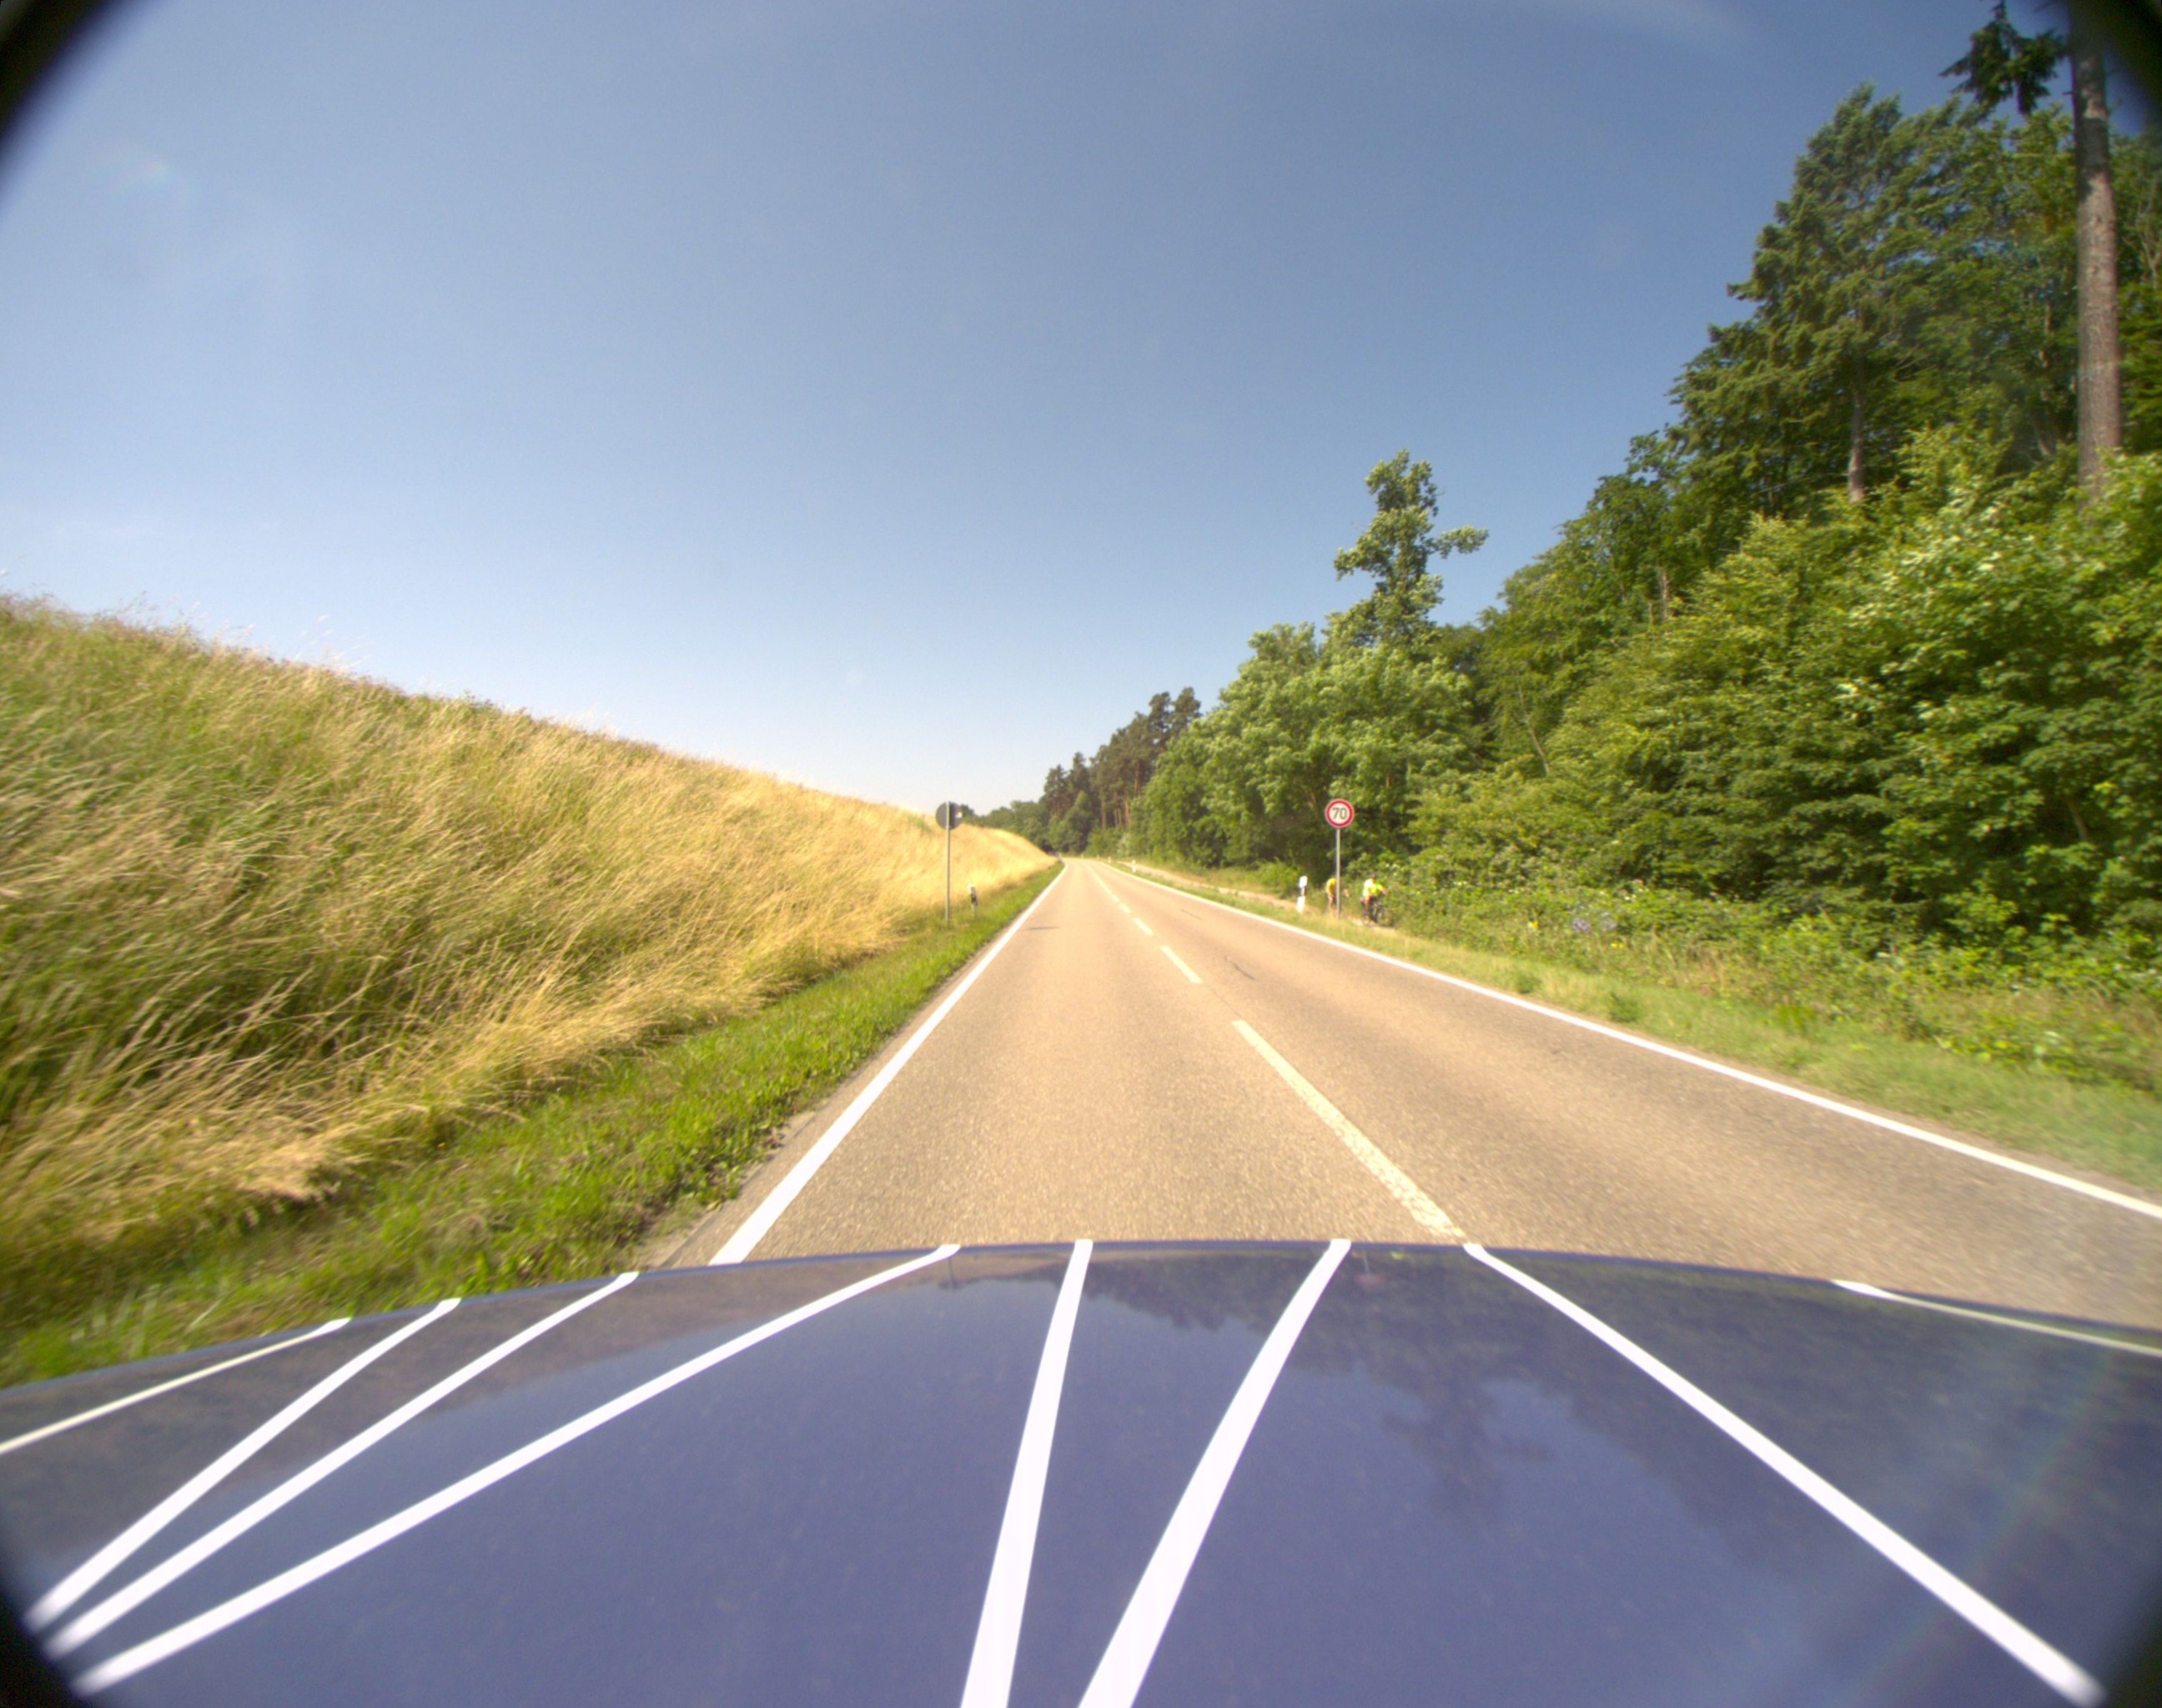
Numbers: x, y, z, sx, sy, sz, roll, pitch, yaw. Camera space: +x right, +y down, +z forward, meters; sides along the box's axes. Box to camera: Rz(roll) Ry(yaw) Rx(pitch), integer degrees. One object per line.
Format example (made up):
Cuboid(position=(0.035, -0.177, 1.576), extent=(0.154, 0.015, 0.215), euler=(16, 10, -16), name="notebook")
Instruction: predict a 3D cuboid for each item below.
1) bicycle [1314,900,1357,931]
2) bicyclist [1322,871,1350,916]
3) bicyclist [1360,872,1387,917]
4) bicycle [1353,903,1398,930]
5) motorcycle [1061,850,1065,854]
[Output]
Cuboid(position=(8.204, 1.970, 24.601), extent=(0.641, 0.783, 2.136), euler=(2, 0, 0), name="bicycle")
Cuboid(position=(8.231, 1.268, 24.560), extent=(0.606, 1.407, 0.702), euler=(2, 1, -1), name="bicyclist")
Cuboid(position=(9.634, 1.326, 25.048), extent=(0.606, 1.408, 0.702), euler=(-3, 3, 0), name="bicyclist")
Cuboid(position=(9.669, 2.036, 25.018), extent=(0.621, 0.677, 2.136), euler=(0, 1, 0), name="bicycle")
Cuboid(position=(-4.585, -0.581, 192.982), extent=(0.641, 0.979, 2.004), euler=(1, 1, -7), name="motorcycle")
